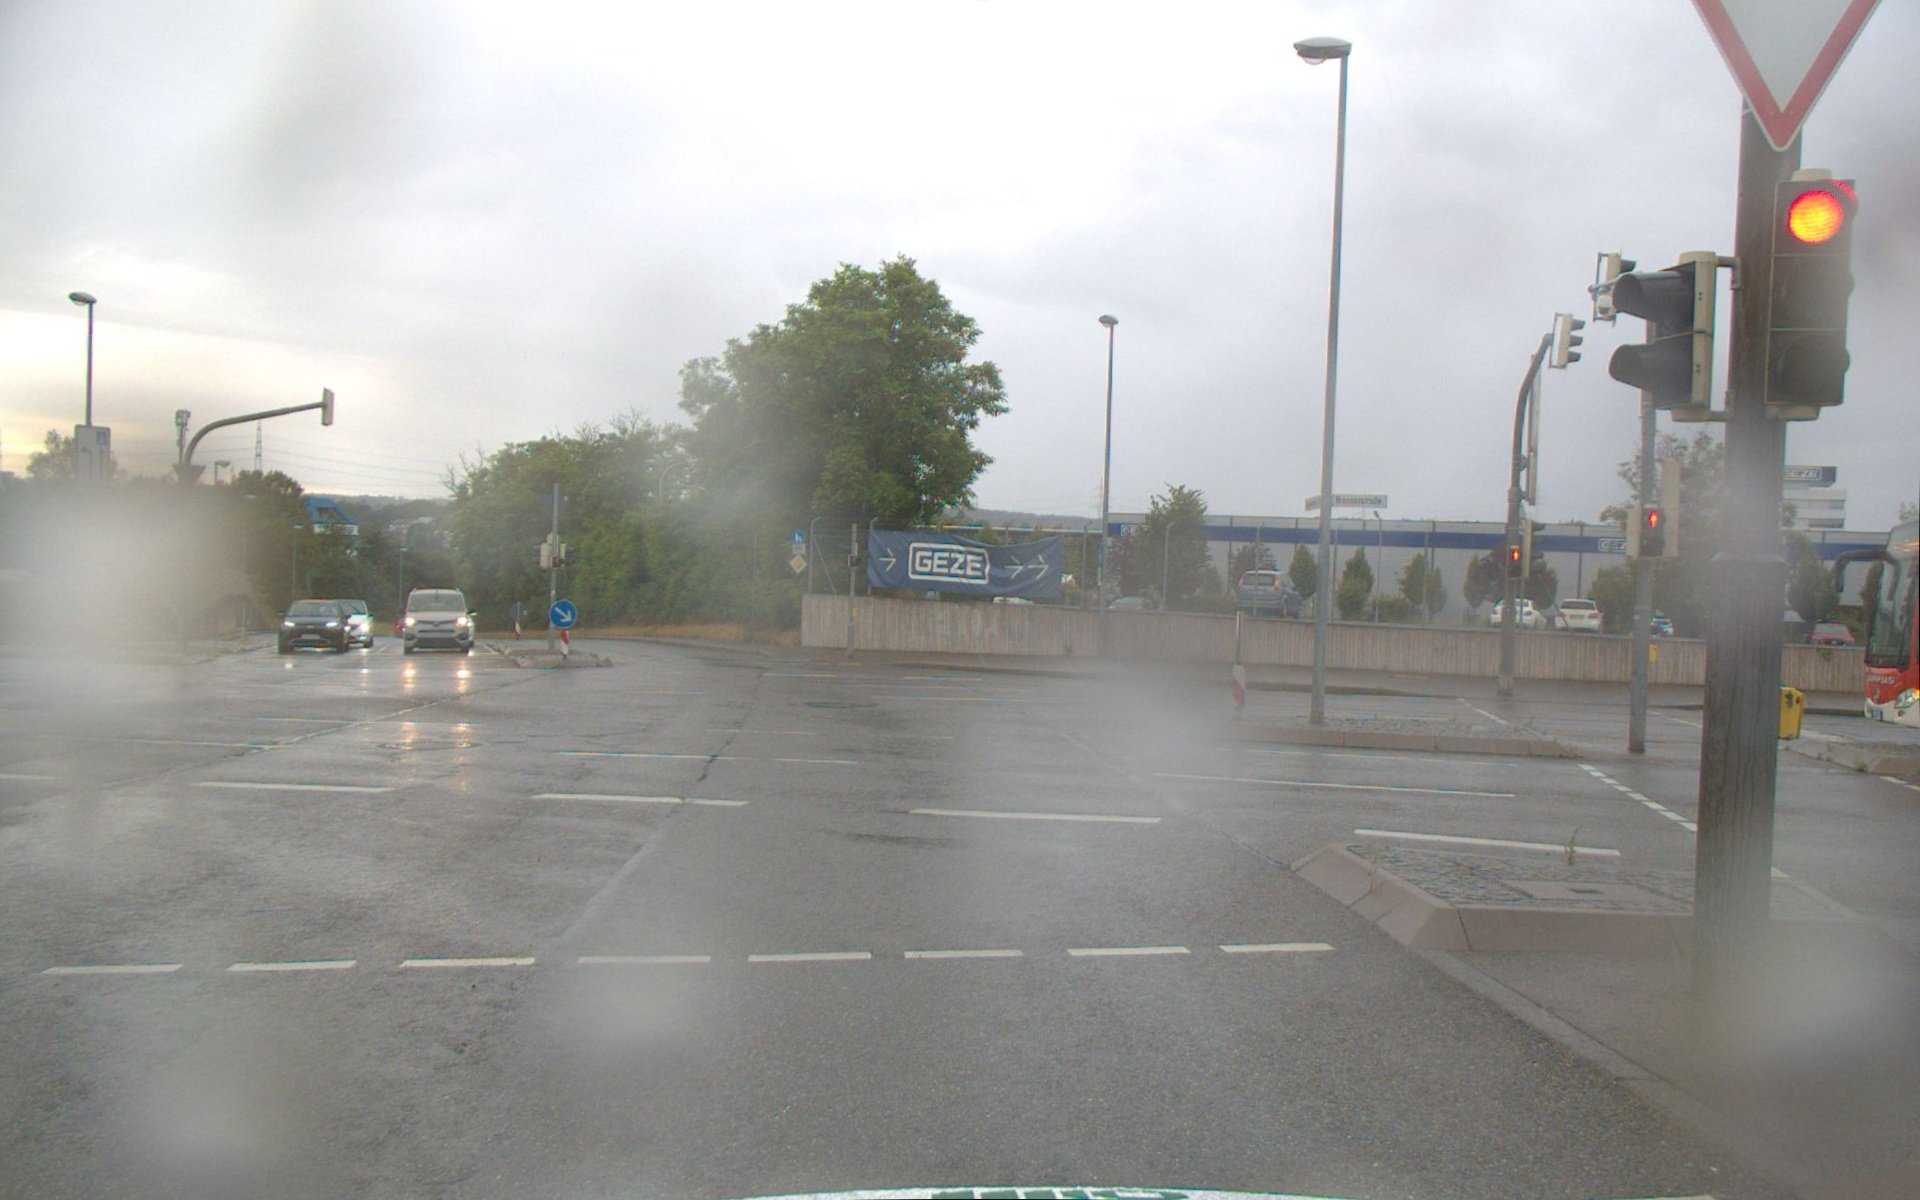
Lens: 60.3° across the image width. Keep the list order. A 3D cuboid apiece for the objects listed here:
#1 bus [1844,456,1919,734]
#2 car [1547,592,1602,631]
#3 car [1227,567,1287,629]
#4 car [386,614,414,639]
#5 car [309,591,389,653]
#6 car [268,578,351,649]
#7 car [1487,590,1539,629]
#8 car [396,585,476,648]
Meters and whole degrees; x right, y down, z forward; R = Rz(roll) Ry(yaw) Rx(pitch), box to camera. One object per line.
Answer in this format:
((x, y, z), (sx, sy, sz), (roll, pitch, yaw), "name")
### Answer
((17.711, 0.210, 19.856), (12.020, 3.379, 3.076), (3, 1, 17), "bus")
((25.257, 0.445, 68.057), (1.952, 1.504, 4.001), (2, 1, 19), "car")
((10.393, -0.071, 57.842), (1.951, 2.049, 4.003), (1, 0, 11), "car")
((-39.624, 1.851, 116.995), (1.593, 1.474, 3.781), (2, 1, -23), "car")
((-20.324, 0.697, 55.123), (1.959, 1.928, 3.987), (1, 0, -13), "car")
((-18.739, 0.369, 47.805), (1.963, 1.928, 3.979), (1, 0, -19), "car")
((22.961, 0.376, 68.646), (1.952, 1.504, 4.001), (2, 1, 19), "car")
((-14.962, 0.447, 47.401), (1.961, 1.646, 3.984), (1, 1, -15), "car")
